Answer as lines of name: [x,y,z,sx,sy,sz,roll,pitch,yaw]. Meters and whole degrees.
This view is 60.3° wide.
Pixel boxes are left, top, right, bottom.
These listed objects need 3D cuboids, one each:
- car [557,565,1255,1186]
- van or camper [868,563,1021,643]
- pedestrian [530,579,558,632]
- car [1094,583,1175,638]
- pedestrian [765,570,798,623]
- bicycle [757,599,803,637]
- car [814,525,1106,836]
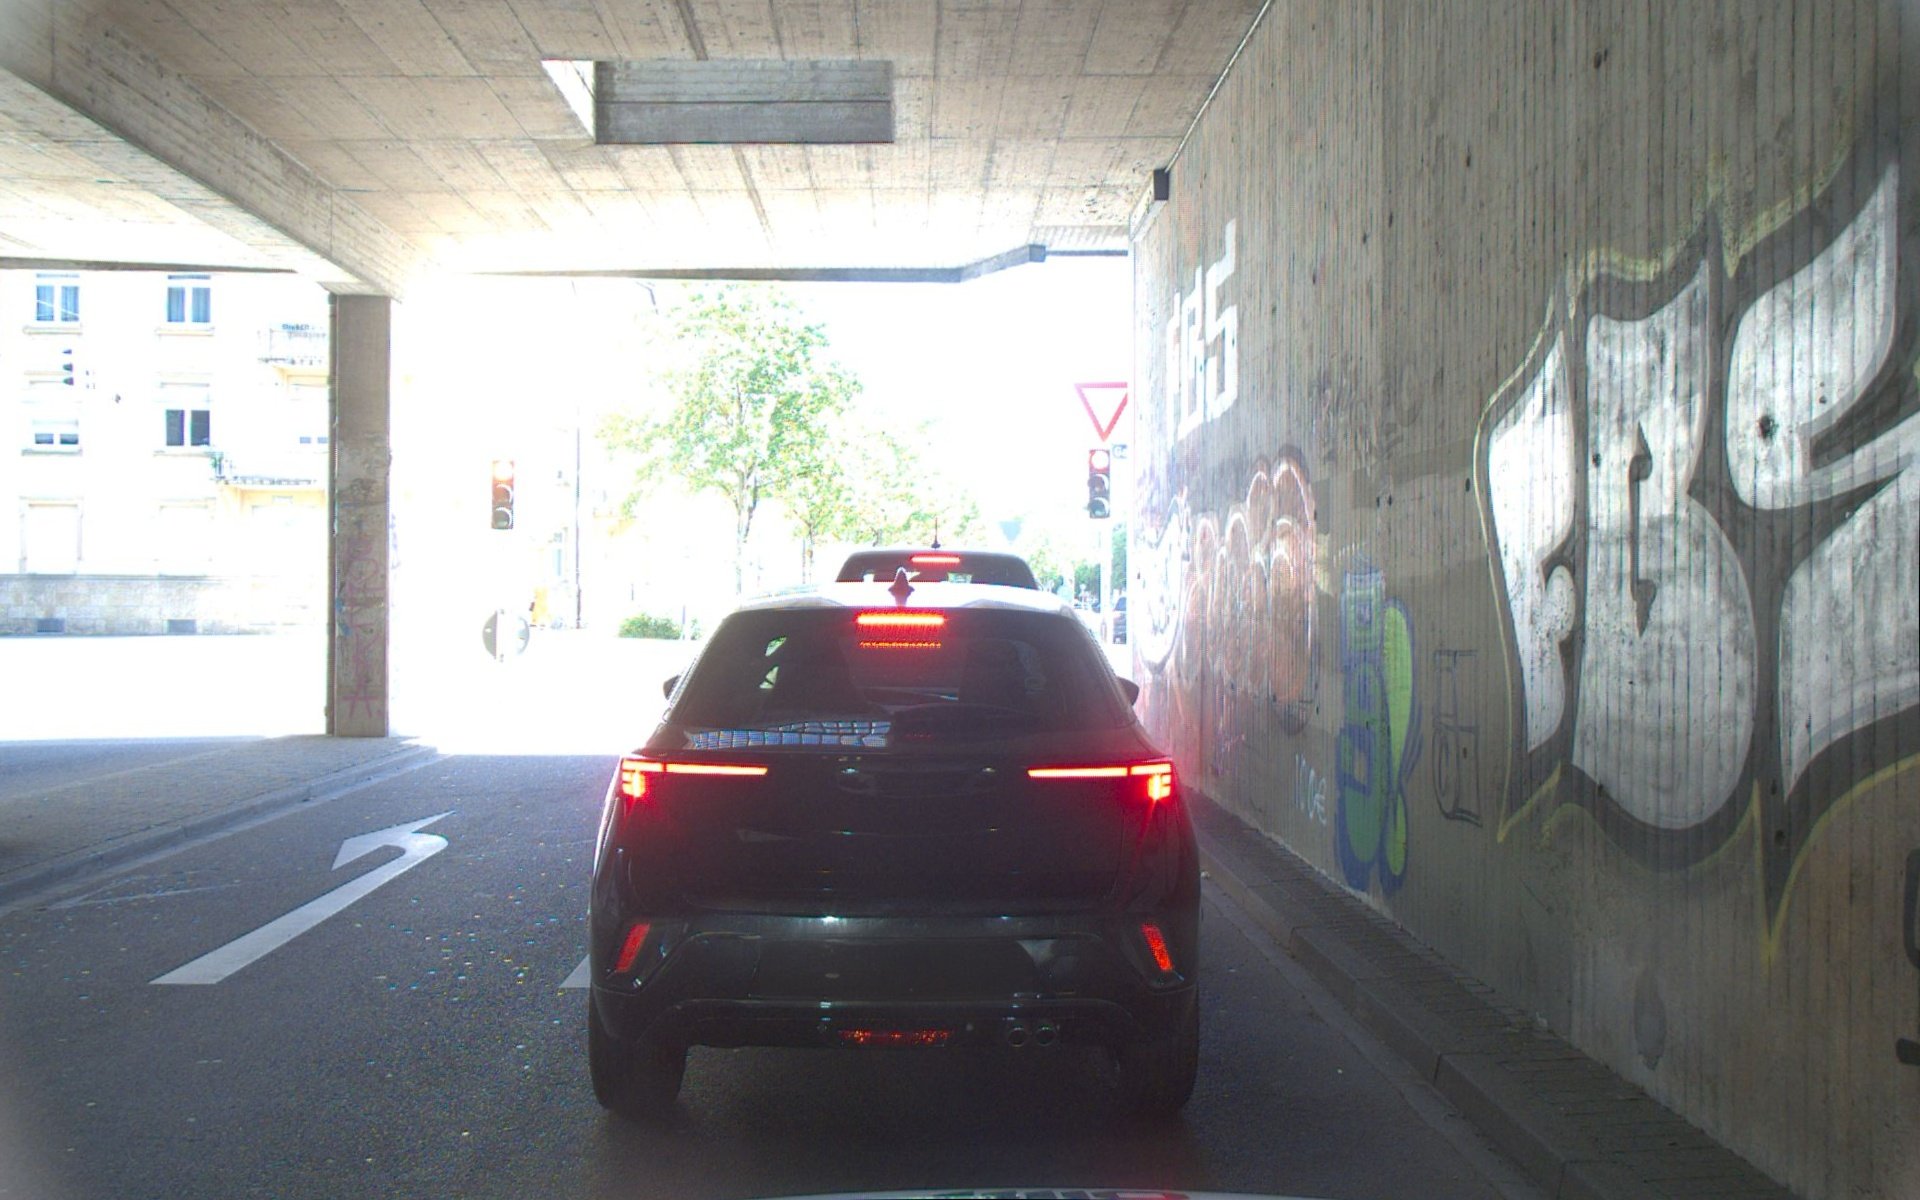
car: [-0.148,0.681,6.139,1.718,1.525,4.000,1,0,-1]
van or camper: [-0.370,0.079,43.454,3.795,2.049,2.002,0,0,7]
pedestrian: [-13.814,0.178,54.901,0.609,1.734,0.724,1,-1,12]
car: [5.223,0.291,49.082,1.951,1.561,4.738,0,0,12]
pedestrian: [-5.542,-0.102,51.336,0.720,1.612,0.891,1,-1,15]
bicycle: [-5.569,0.543,51.251,0.721,1.150,2.027,0,0,16]
car: [-0.021,0.481,12.026,1.749,1.865,3.960,1,0,-1]
